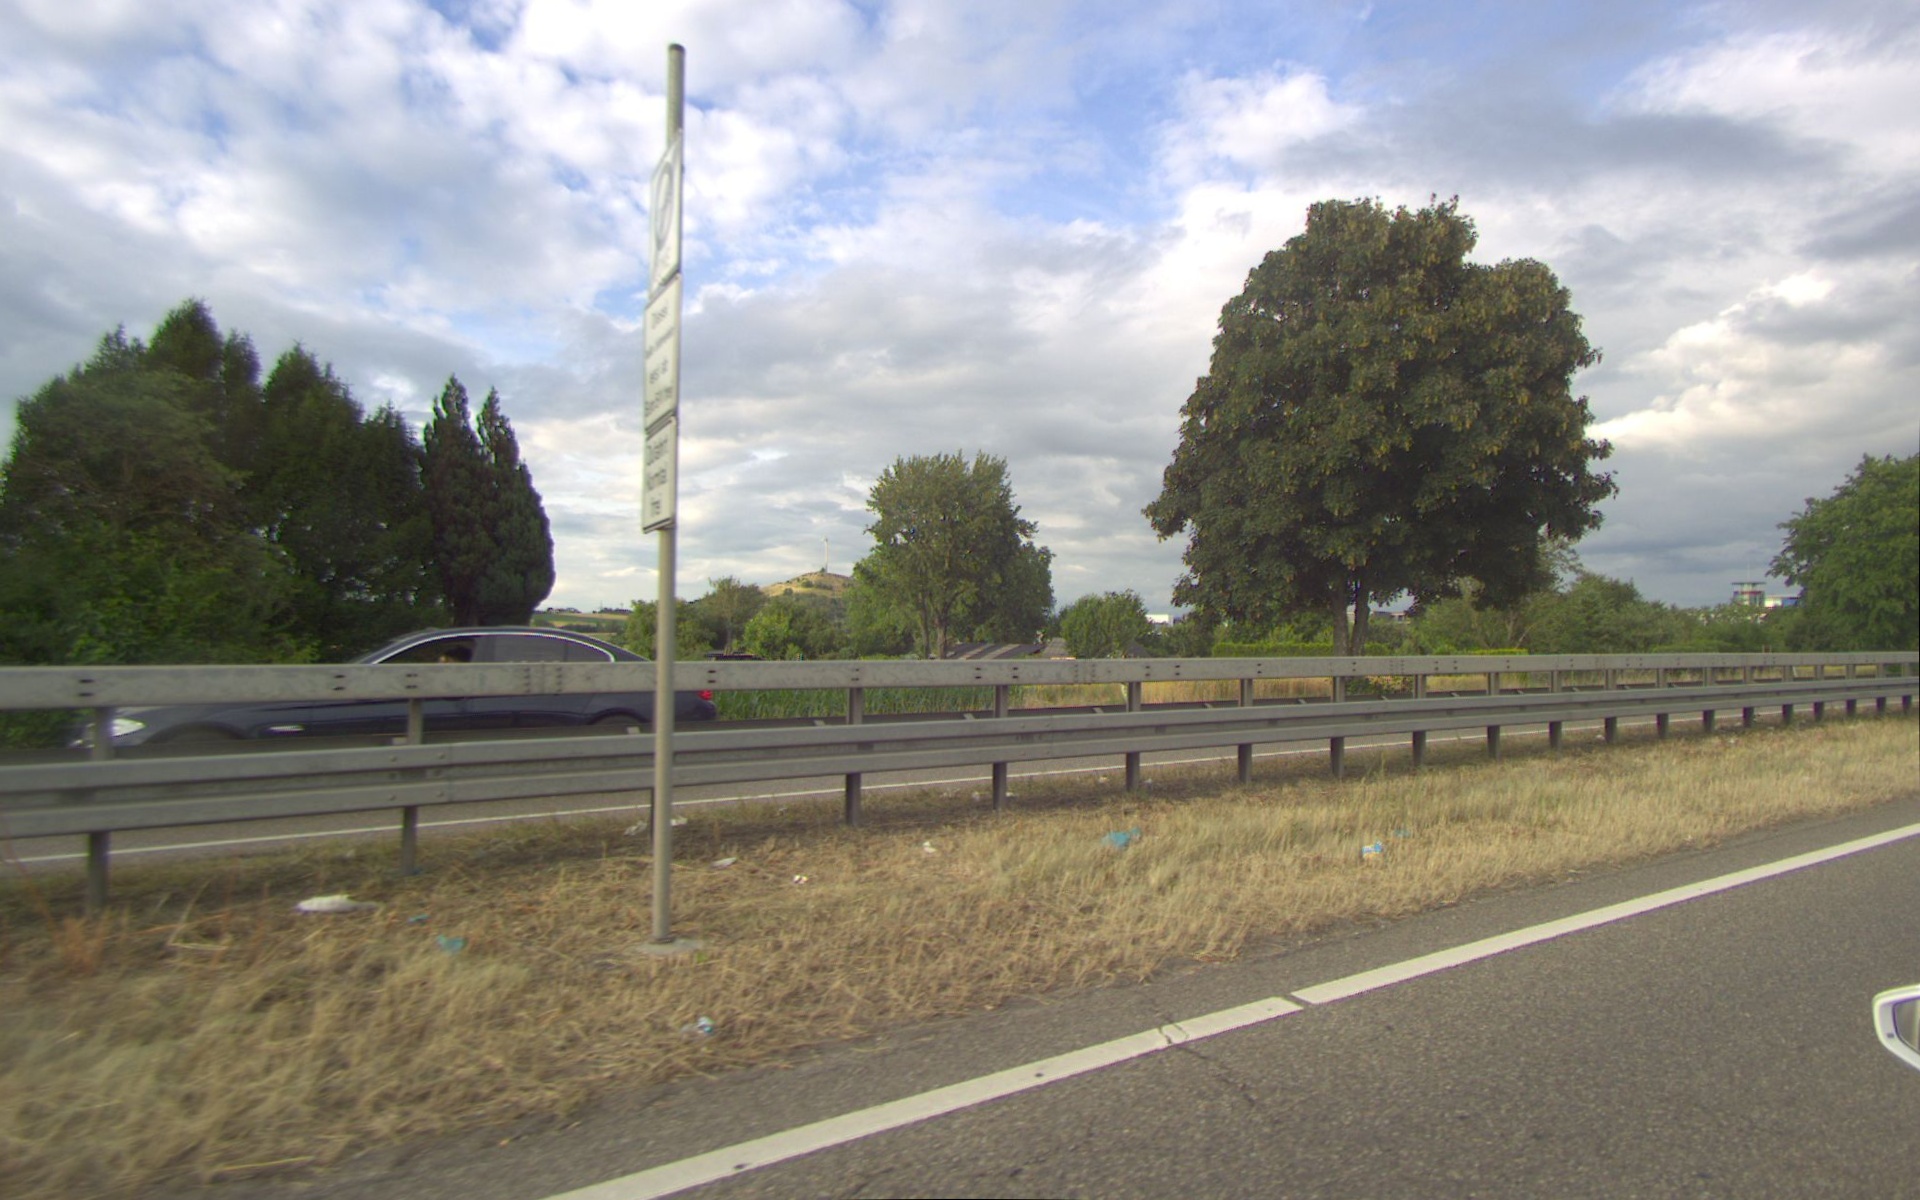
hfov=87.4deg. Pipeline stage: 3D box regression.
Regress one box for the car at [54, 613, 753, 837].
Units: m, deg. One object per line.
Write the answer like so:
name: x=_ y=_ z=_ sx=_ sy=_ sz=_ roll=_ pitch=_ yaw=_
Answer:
car: x=-4.470 y=0.909 z=8.827 sx=4.881 sy=1.497 sz=1.857 roll=1 pitch=-2 yaw=-32
